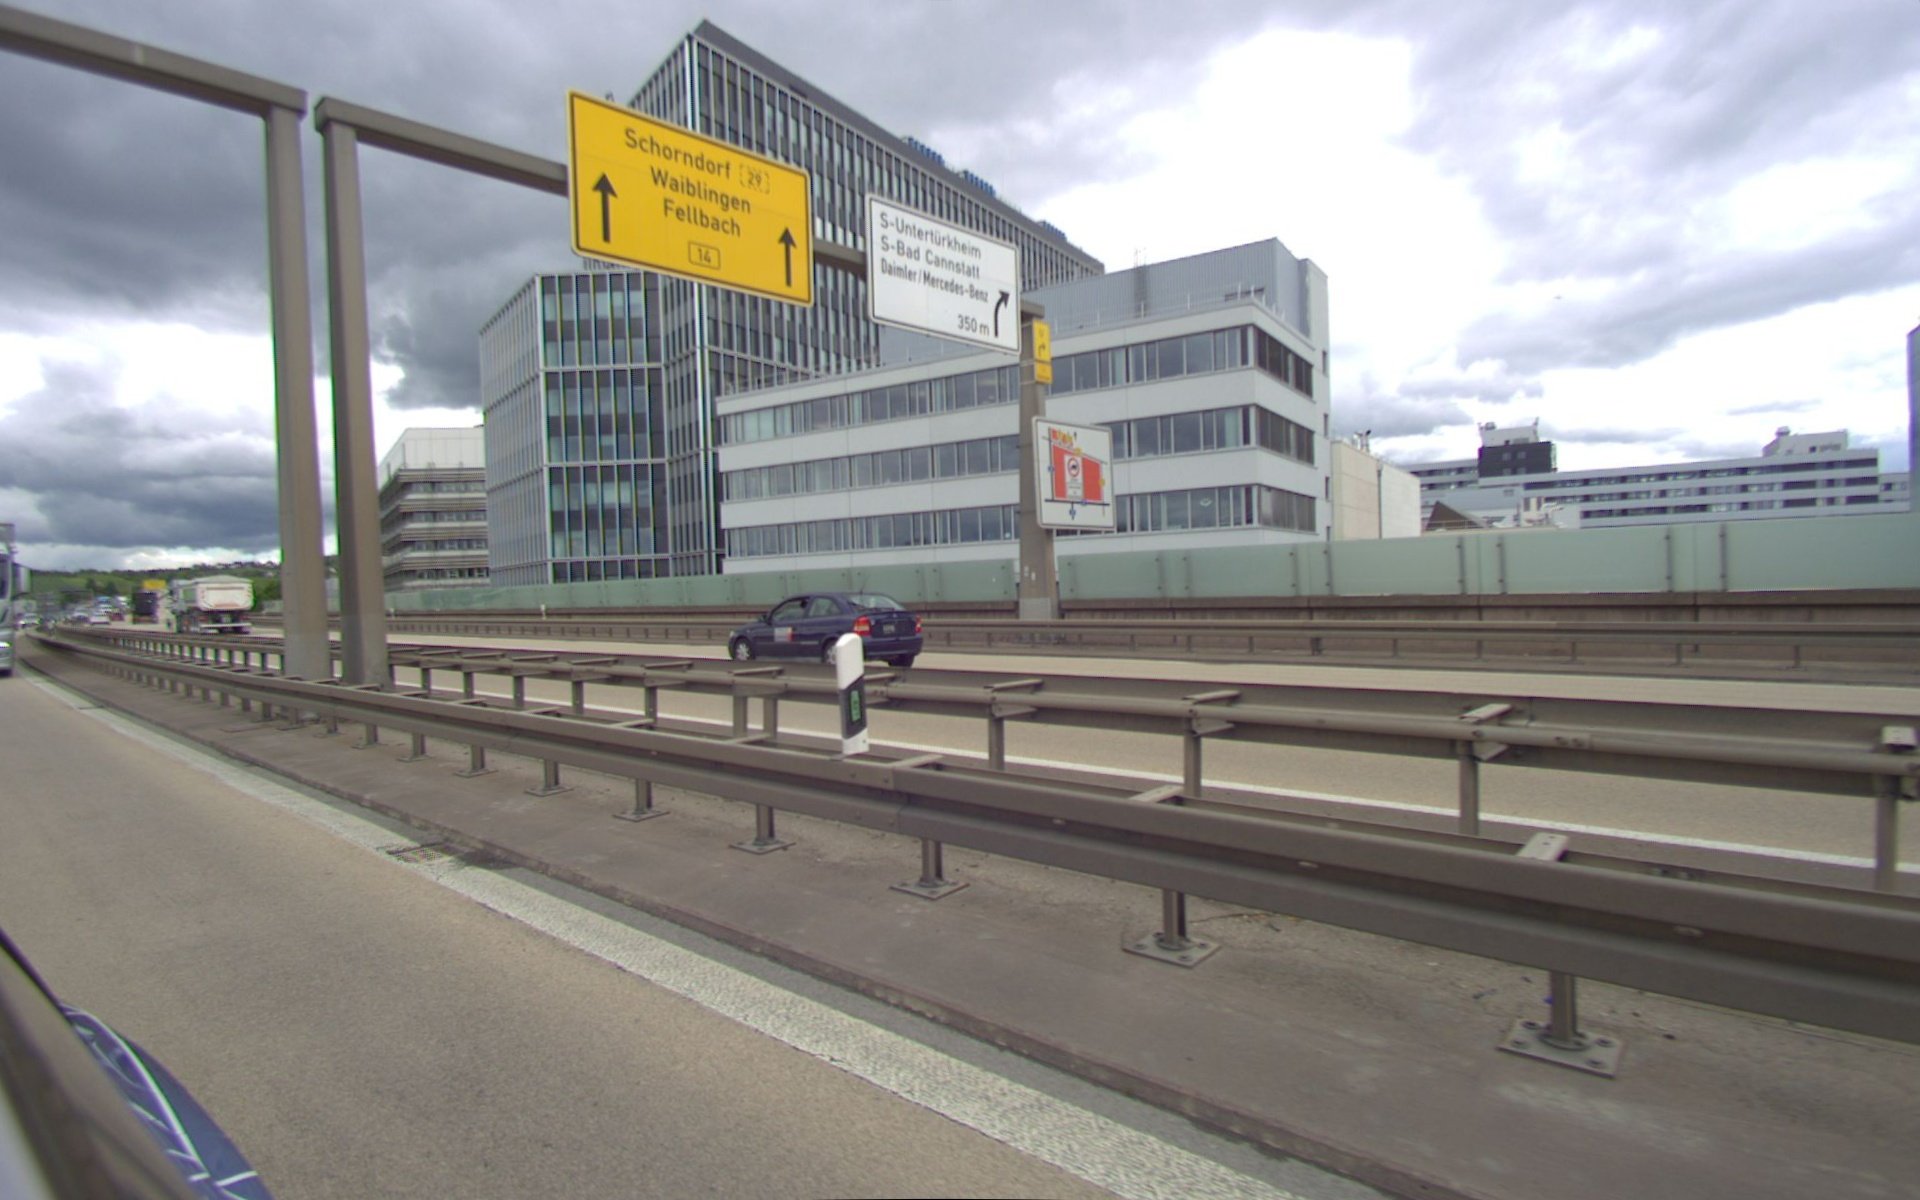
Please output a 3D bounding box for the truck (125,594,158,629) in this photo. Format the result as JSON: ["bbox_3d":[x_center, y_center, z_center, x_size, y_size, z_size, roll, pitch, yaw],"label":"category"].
[{"bbox_3d":[-101.458,1.410,125.576,3.018,4.096,8.680,-1,0,-38],"label":"truck"}]

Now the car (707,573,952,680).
[{"bbox_3d":[-2.435,0.422,18.199,4.406,1.687,1.973,-1,0,42],"label":"car"}]

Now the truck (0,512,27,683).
[{"bbox_3d":[-25.644,0.012,25.309,3.099,4.067,5.692,-3,1,-44],"label":"truck"}]

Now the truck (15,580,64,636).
[{"bbox_3d":[-80.495,0.672,88.422,3.021,4.596,12.083,-1,0,-43],"label":"truck"}]

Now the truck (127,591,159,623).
[{"bbox_3d":[-107.822,0.927,133.701,3.018,4.096,11.880,-1,0,-38],"label":"truck"}]

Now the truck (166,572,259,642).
[{"bbox_3d":[-44.963,0.413,60.678,3.021,3.805,12.530,-1,0,-43],"label":"truck"}]

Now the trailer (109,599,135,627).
[{"bbox_3d":[-136.904,2.063,165.289,2.810,4.017,11.901,-1,2,-42],"label":"trailer"}]

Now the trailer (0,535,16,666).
[{"bbox_3d":[-34.666,0.138,34.553,3.145,4.056,11.773,-3,1,-44],"label":"trailer"}]

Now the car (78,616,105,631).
[{"bbox_3d":[-100.930,2.745,117.560,4.809,1.618,1.971,-1,0,44],"label":"car"}]
